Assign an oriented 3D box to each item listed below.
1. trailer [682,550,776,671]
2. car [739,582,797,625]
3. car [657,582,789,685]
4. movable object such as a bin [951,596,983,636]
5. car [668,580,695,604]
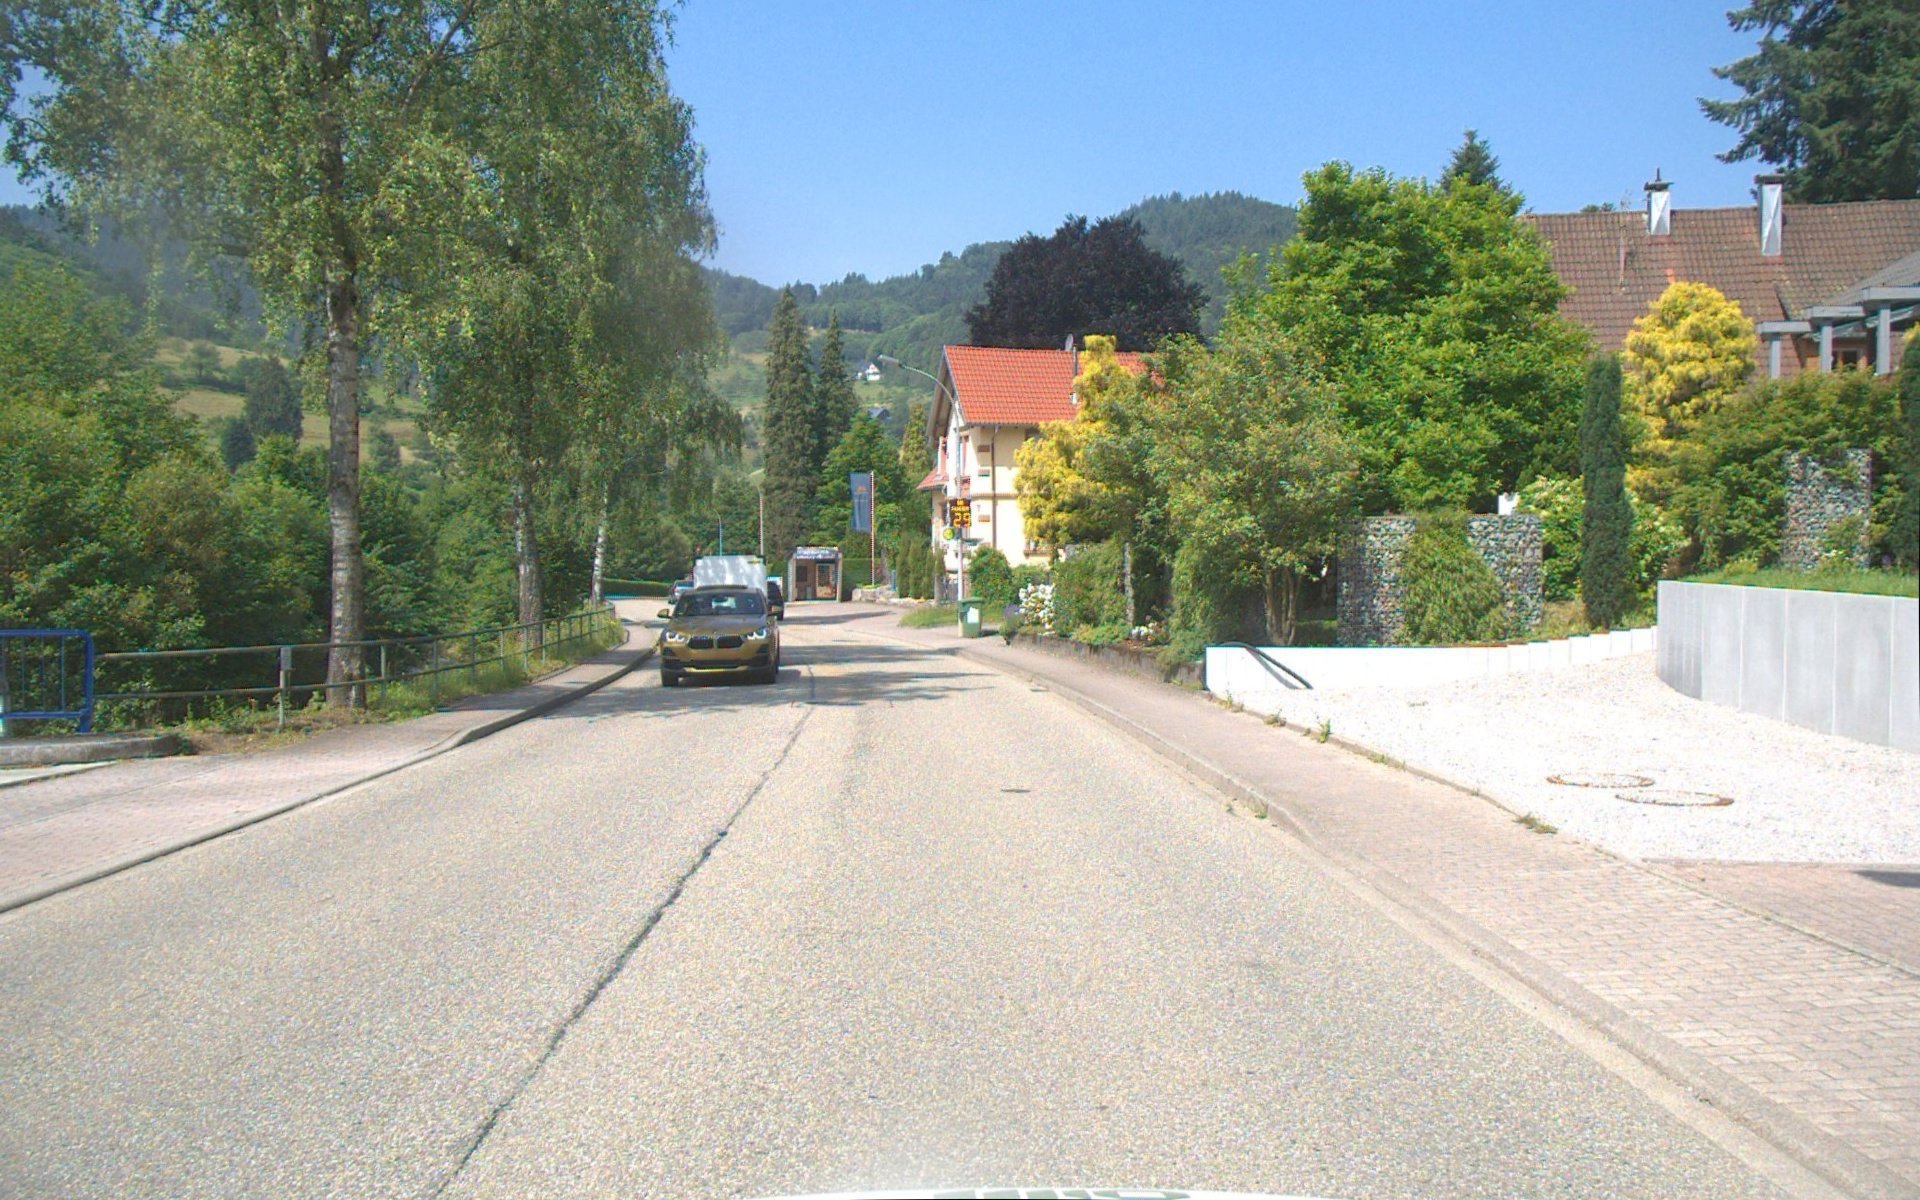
[{"bbox_3d":[-4.331,0.171,31.383,1.438,2.114,3.668,-1,0,-3],"label":"trailer"},{"bbox_3d":[-8.167,0.136,70.118,1.888,1.728,3.772,-1,0,-16],"label":"car"},{"bbox_3d":[-3.827,0.497,27.292,1.777,1.527,4.146,-1,1,-4],"label":"car"},{"bbox_3d":[0.187,0.422,45.148,0.794,1.060,0.577,-1,1,-10],"label":"movable object such as a bin"},{"bbox_3d":[-16.980,-0.474,100.966,1.599,1.447,3.391,0,0,-9],"label":"car"}]
